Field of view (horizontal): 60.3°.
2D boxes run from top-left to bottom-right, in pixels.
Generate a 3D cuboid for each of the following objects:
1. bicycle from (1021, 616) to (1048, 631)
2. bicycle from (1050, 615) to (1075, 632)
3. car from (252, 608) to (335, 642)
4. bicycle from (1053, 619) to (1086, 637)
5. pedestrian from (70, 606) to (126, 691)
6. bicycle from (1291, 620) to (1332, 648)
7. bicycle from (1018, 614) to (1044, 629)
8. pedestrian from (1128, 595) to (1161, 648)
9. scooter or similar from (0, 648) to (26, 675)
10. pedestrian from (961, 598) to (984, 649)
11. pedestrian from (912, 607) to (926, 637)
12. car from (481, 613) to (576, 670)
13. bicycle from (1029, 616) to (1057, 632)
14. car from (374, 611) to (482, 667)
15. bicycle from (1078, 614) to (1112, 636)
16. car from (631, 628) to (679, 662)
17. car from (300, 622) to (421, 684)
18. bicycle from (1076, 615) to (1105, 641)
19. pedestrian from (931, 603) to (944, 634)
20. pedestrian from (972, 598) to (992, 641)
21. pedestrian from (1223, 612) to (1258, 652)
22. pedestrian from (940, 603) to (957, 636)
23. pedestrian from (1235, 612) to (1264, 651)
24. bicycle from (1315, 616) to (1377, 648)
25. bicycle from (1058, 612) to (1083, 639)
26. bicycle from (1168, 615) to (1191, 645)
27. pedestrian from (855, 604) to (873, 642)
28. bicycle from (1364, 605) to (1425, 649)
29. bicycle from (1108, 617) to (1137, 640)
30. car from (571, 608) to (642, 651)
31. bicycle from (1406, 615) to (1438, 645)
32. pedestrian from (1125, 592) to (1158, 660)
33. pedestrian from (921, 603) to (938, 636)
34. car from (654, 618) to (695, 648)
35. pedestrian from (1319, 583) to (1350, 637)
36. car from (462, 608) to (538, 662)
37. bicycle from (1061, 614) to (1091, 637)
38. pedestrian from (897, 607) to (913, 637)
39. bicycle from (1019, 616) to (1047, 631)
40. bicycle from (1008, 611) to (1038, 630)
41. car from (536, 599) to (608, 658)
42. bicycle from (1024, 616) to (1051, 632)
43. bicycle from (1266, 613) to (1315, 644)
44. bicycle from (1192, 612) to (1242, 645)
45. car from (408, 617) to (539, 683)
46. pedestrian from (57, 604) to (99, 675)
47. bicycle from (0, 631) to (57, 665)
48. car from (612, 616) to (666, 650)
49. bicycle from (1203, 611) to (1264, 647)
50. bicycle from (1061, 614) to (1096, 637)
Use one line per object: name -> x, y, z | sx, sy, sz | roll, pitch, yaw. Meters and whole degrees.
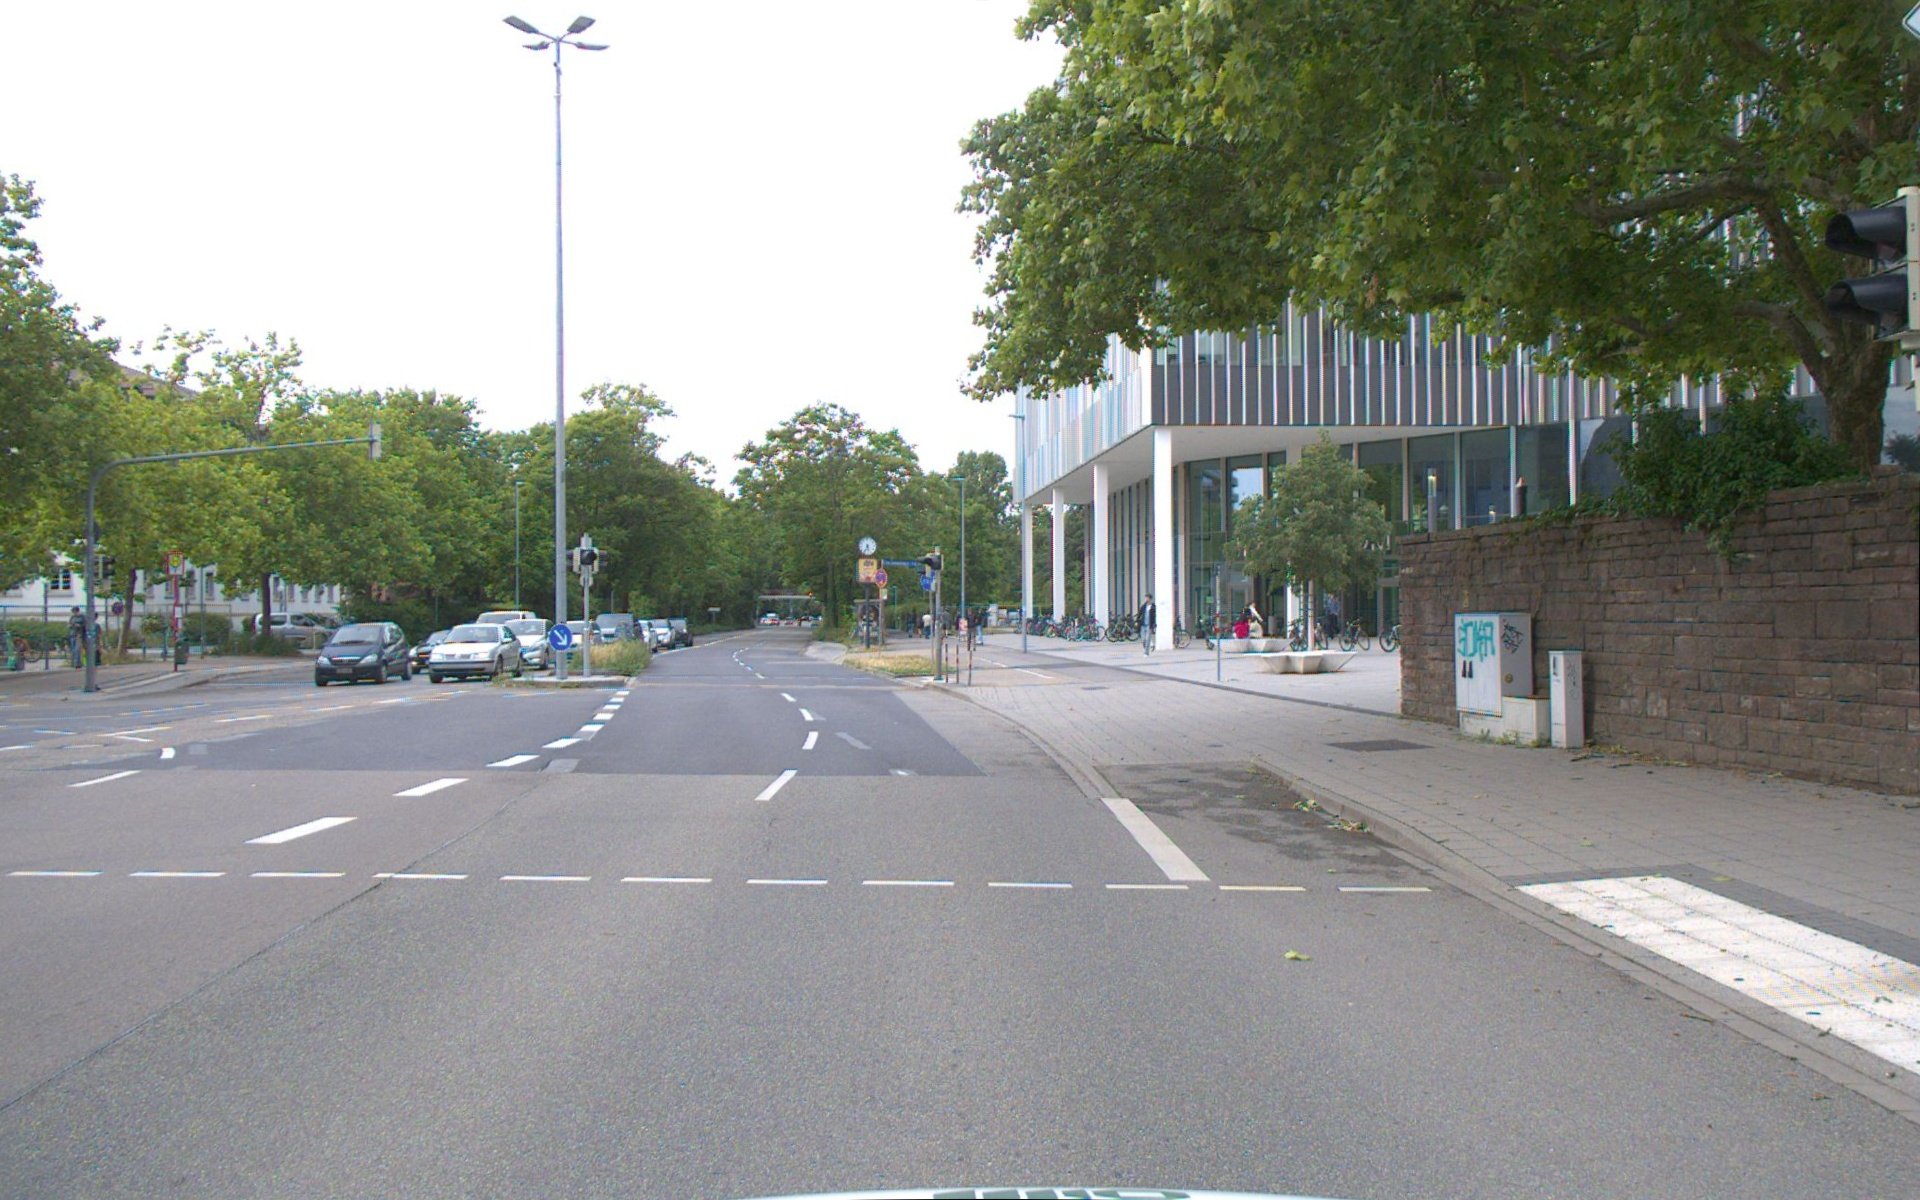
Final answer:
bicycle -> 4.531, 1.422, 101.255 | 1.575, 0.890, 0.556 | -2, -1, -4
bicycle -> 5.421, 1.238, 87.638 | 1.258, 0.890, 0.556 | -2, -1, -4
car -> -33.483, 1.241, 83.187 | 3.517, 1.630, 1.649 | 1, -1, -7
bicycle -> 5.573, 1.428, 84.179 | 1.574, 0.890, 0.556 | -1, -1, -4
pedestrian -> -21.004, 1.172, 40.334 | 0.877, 2.049, 1.008 | -1, -1, -7
bicycle -> 11.979, 1.145, 56.338 | 0.659, 0.914, 1.838 | -1, -1, 36
bicycle -> 4.424, 1.349, 103.068 | 1.576, 0.890, 0.555 | -1, -1, -9
pedestrian -> 6.633, 0.779, 59.437 | 0.832, 1.868, 0.887 | -1, -1, -25
scooter or similar -> -27.209, 1.751, 47.203 | 0.398, 0.706, 1.289 | 1, 0, -2
pedestrian -> 0.503, 0.957, 67.599 | 0.826, 2.049, 0.894 | -3, -1, -3
pedestrian -> -2.808, 1.522, 113.606 | 0.808, 2.049, 0.719 | -1, -1, -9
car -> -13.332, 1.252, 51.347 | 1.918, 1.611, 4.254 | 2, 0, -2
bicycle -> 4.945, 1.426, 98.492 | 1.575, 0.890, 0.556 | -2, -1, -4
car -> -16.517, 1.180, 51.588 | 1.952, 1.648, 4.001 | -1, 0, 2
bicycle -> 6.526, 1.207, 79.846 | 1.572, 0.952, 0.569 | -3, 0, 6
car -> -15.600, 2.281, 84.750 | 1.955, 1.574, 4.175 | -2, 0, -5
car -> -15.566, 1.358, 43.144 | 1.814, 1.489, 3.697 | -1, 0, 0
bicycle -> 5.844, 1.245, 74.315 | 0.598, 1.099, 1.954 | -3, 0, -16
pedestrian -> -1.569, 1.274, 113.942 | 0.808, 2.049, 0.719 | -1, -1, -5
pedestrian -> 1.046, 0.932, 78.575 | 0.826, 2.049, 0.893 | -1, -1, -7
pedestrian -> 8.779, 0.988, 51.771 | 0.827, 1.227, 0.893 | -1, -1, 29
pedestrian -> -0.713, 1.221, 104.607 | 0.908, 2.049, 1.038 | -1, -1, -7
pedestrian -> 9.171, 0.981, 52.403 | 0.872, 1.214, 0.846 | -1, -1, 9
bicycle -> 12.847, 1.059, 55.024 | 2.166, 1.023, 0.772 | -1, -1, -35
bicycle -> 5.143, 1.189, 77.047 | 0.624, 1.160, 2.196 | -3, 0, -9
bicycle -> 8.249, 1.112, 62.208 | 0.625, 1.080, 1.840 | 1, -1, 0
pedestrian -> -5.345, 1.286, 92.200 | 0.895, 2.048, 0.853 | -2, 1, -6
bicycle -> 14.082, 0.858, 53.586 | 1.978, 1.328, 0.640 | -2, 1, -27
bicycle -> 7.132, 1.254, 72.519 | 1.477, 0.945, 0.433 | -2, 1, -44
car -> -14.591, 1.186, 68.516 | 1.953, 1.717, 4.946 | 1, 0, -1
bicycle -> 14.755, 0.954, 52.800 | 0.387, 0.914, 1.464 | -2, -1, 41
pedestrian -> 5.571, 0.788, 50.807 | 0.826, 2.049, 0.894 | -1, -1, -3
pedestrian -> -1.915, 1.216, 104.467 | 0.908, 2.049, 1.037 | -1, -1, -9
car -> -16.449, 1.885, 95.427 | 1.866, 1.621, 4.512 | -1, -1, -5
pedestrian -> 14.925, 0.397, 65.899 | 1.156, 2.098, 1.136 | 1, -1, 13
car -> -16.895, 1.274, 60.934 | 1.736, 1.880, 4.485 | 1, -1, -4
bicycle -> 5.651, 1.254, 80.688 | 1.373, 1.062, 0.558 | -3, 0, -4
pedestrian -> -3.782, 1.501, 113.818 | 0.908, 2.049, 1.037 | -1, -1, -9
bicycle -> 4.438, 1.425, 100.660 | 1.575, 0.890, 0.556 | -2, -1, -4
bicycle -> 3.961, 1.288, 104.175 | 1.760, 1.100, 0.625 | -3, 0, -7
car -> -14.241, 1.036, 60.933 | 1.954, 2.049, 3.996 | -1, -1, -5
bicycle -> 4.677, 1.446, 99.661 | 1.575, 0.890, 0.556 | -2, -1, -4
bicycle -> 11.394, 0.972, 56.972 | 0.761, 1.019, 1.947 | -2, -1, 43
bicycle -> 9.354, 1.032, 60.150 | 0.723, 1.135, 2.170 | -2, -1, 42
car -> -12.380, 1.241, 42.369 | 1.952, 1.556, 4.275 | -1, 0, 2
pedestrian -> -25.797, 1.142, 48.370 | 0.787, 2.049, 0.923 | 1, -1, -11
bicycle -> -33.737, 1.716, 58.876 | 2.695, 1.195, 0.720 | -1, -1, -9
car -> -14.651, 1.493, 75.716 | 1.866, 1.491, 4.906 | 1, -1, -5
bicycle -> 9.724, 1.018, 58.776 | 0.761, 1.209, 2.702 | -2, -1, 43
bicycle -> 5.830, 1.247, 81.274 | 1.575, 0.999, 0.556 | -3, 0, -4
